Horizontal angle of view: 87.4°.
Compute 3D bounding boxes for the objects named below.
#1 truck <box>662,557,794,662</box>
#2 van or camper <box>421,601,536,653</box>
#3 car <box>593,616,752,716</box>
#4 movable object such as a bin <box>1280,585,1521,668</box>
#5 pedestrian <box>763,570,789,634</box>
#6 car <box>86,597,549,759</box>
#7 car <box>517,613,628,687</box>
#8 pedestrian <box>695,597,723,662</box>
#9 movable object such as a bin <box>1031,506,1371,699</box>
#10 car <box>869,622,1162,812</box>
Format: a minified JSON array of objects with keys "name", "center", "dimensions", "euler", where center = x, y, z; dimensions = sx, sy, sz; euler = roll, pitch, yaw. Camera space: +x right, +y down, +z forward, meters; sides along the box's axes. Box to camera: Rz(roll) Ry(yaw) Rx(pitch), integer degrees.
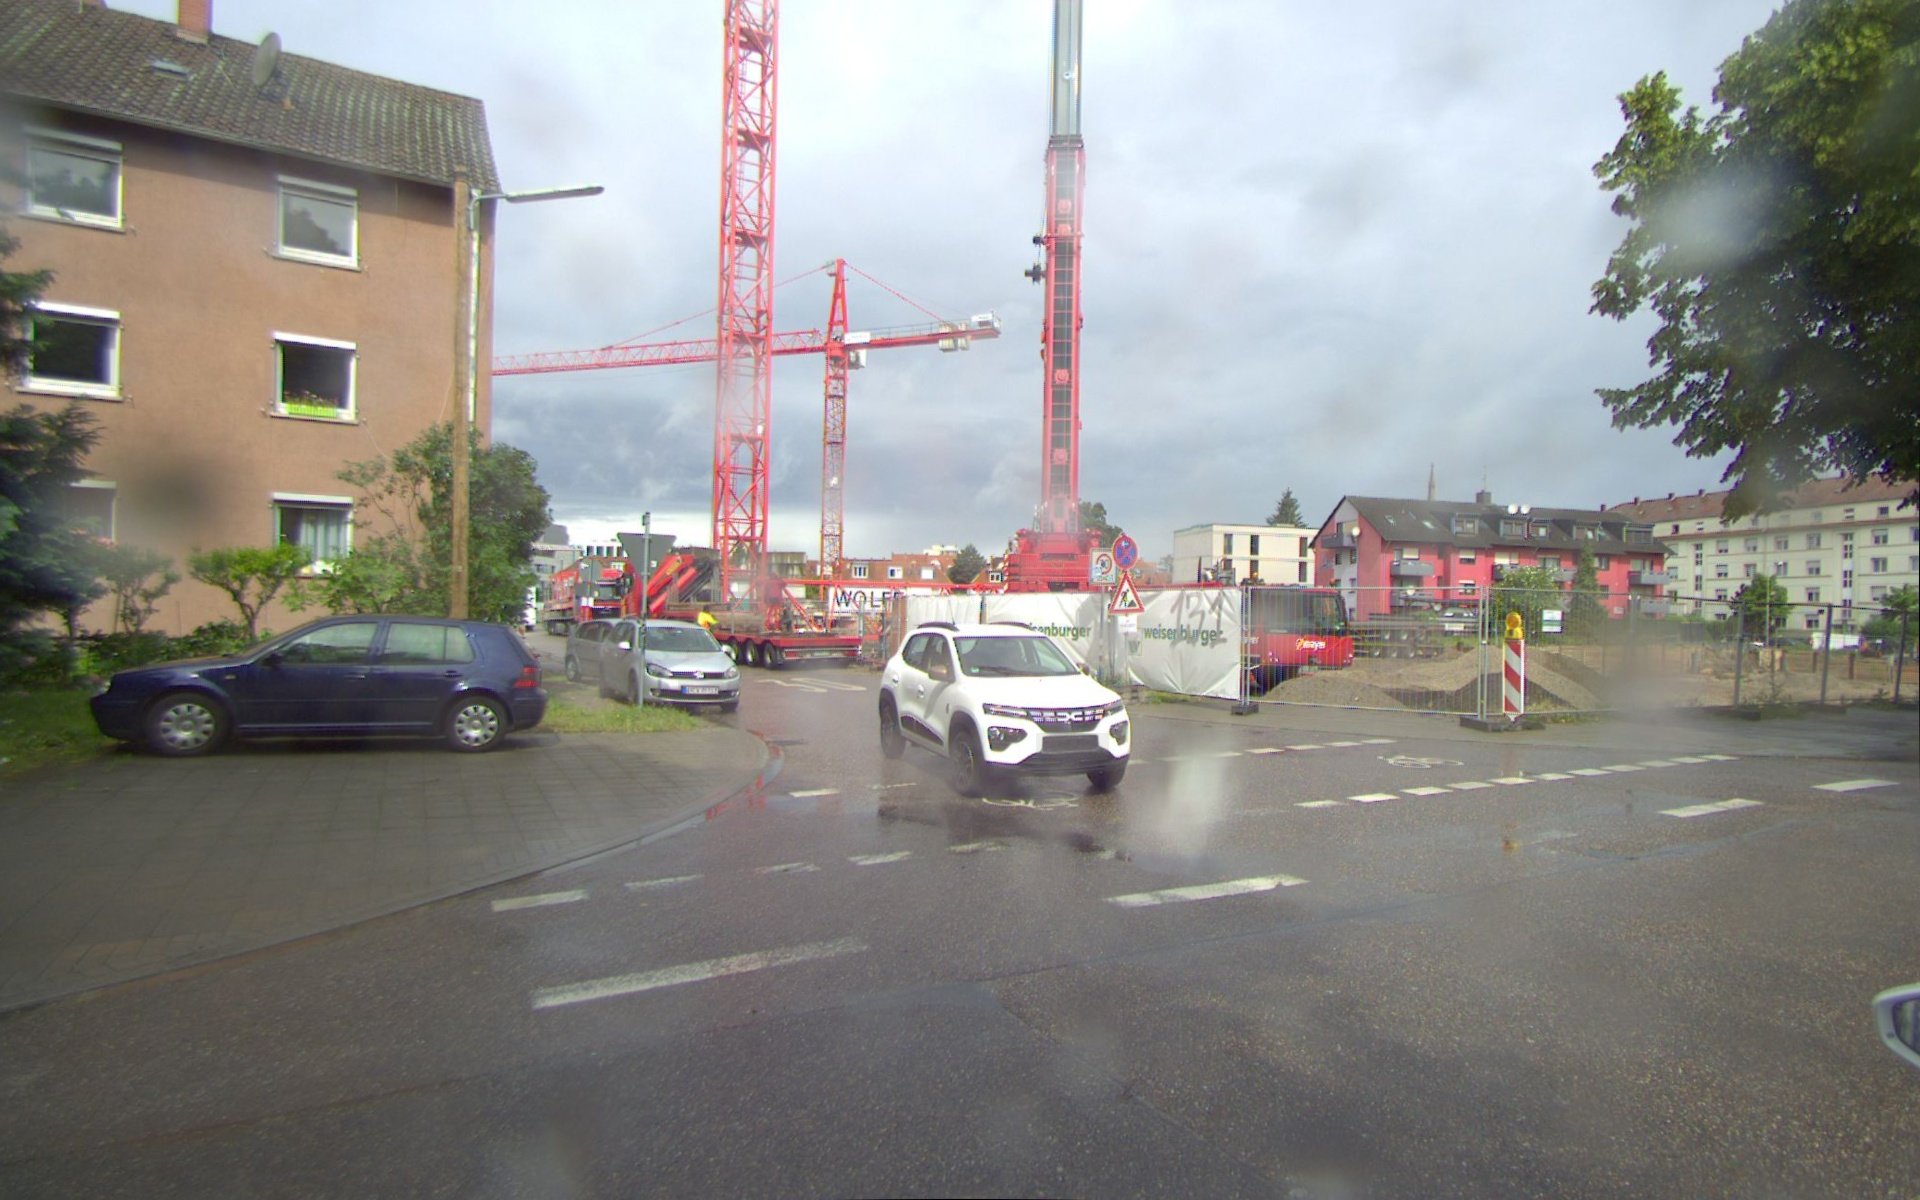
[{"name":"truck","center":[-8.211,0.192,34.843],"dimensions":[2.323,3.237,6.959],"euler":[3,1,-31]},{"name":"van or camper","center":[-19.911,1.159,41.634],"dimensions":[3.967,2.040,1.928],"euler":[2,-4,-39]},{"name":"car","center":[-5.124,1.063,17.562],"dimensions":[1.708,1.493,4.034],"euler":[2,-1,-30]},{"name":"movable object such as a bin","center":[35.181,2.058,80.949],"dimensions":[16.428,6.125,6.886],"euler":[1,0,-5]},{"name":"pedestrian","center":[-6.007,0.073,32.769],"dimensions":[0.681,2.039,0.487],"euler":[2,-4,-37]},{"name":"car","center":[-6.549,0.813,10.704],"dimensions":[3.823,1.439,1.617],"euler":[4,0,-29]},{"name":"car","center":[-9.088,1.109,23.376],"dimensions":[1.708,1.492,4.034],"euler":[4,-2,-30]},{"name":"pedestrian","center":[-8.059,0.952,32.237],"dimensions":[0.740,2.039,0.428],"euler":[2,-4,-34]},{"name":"movable object such as a bin","center":[5.860,0.048,26.940],"dimensions":[3.322,4.170,9.776],"euler":[1,0,-27]},{"name":"car","center":[0.368,1.026,10.299],"dimensions":[1.712,1.554,3.600],"euler":[1,-1,-20]}]
